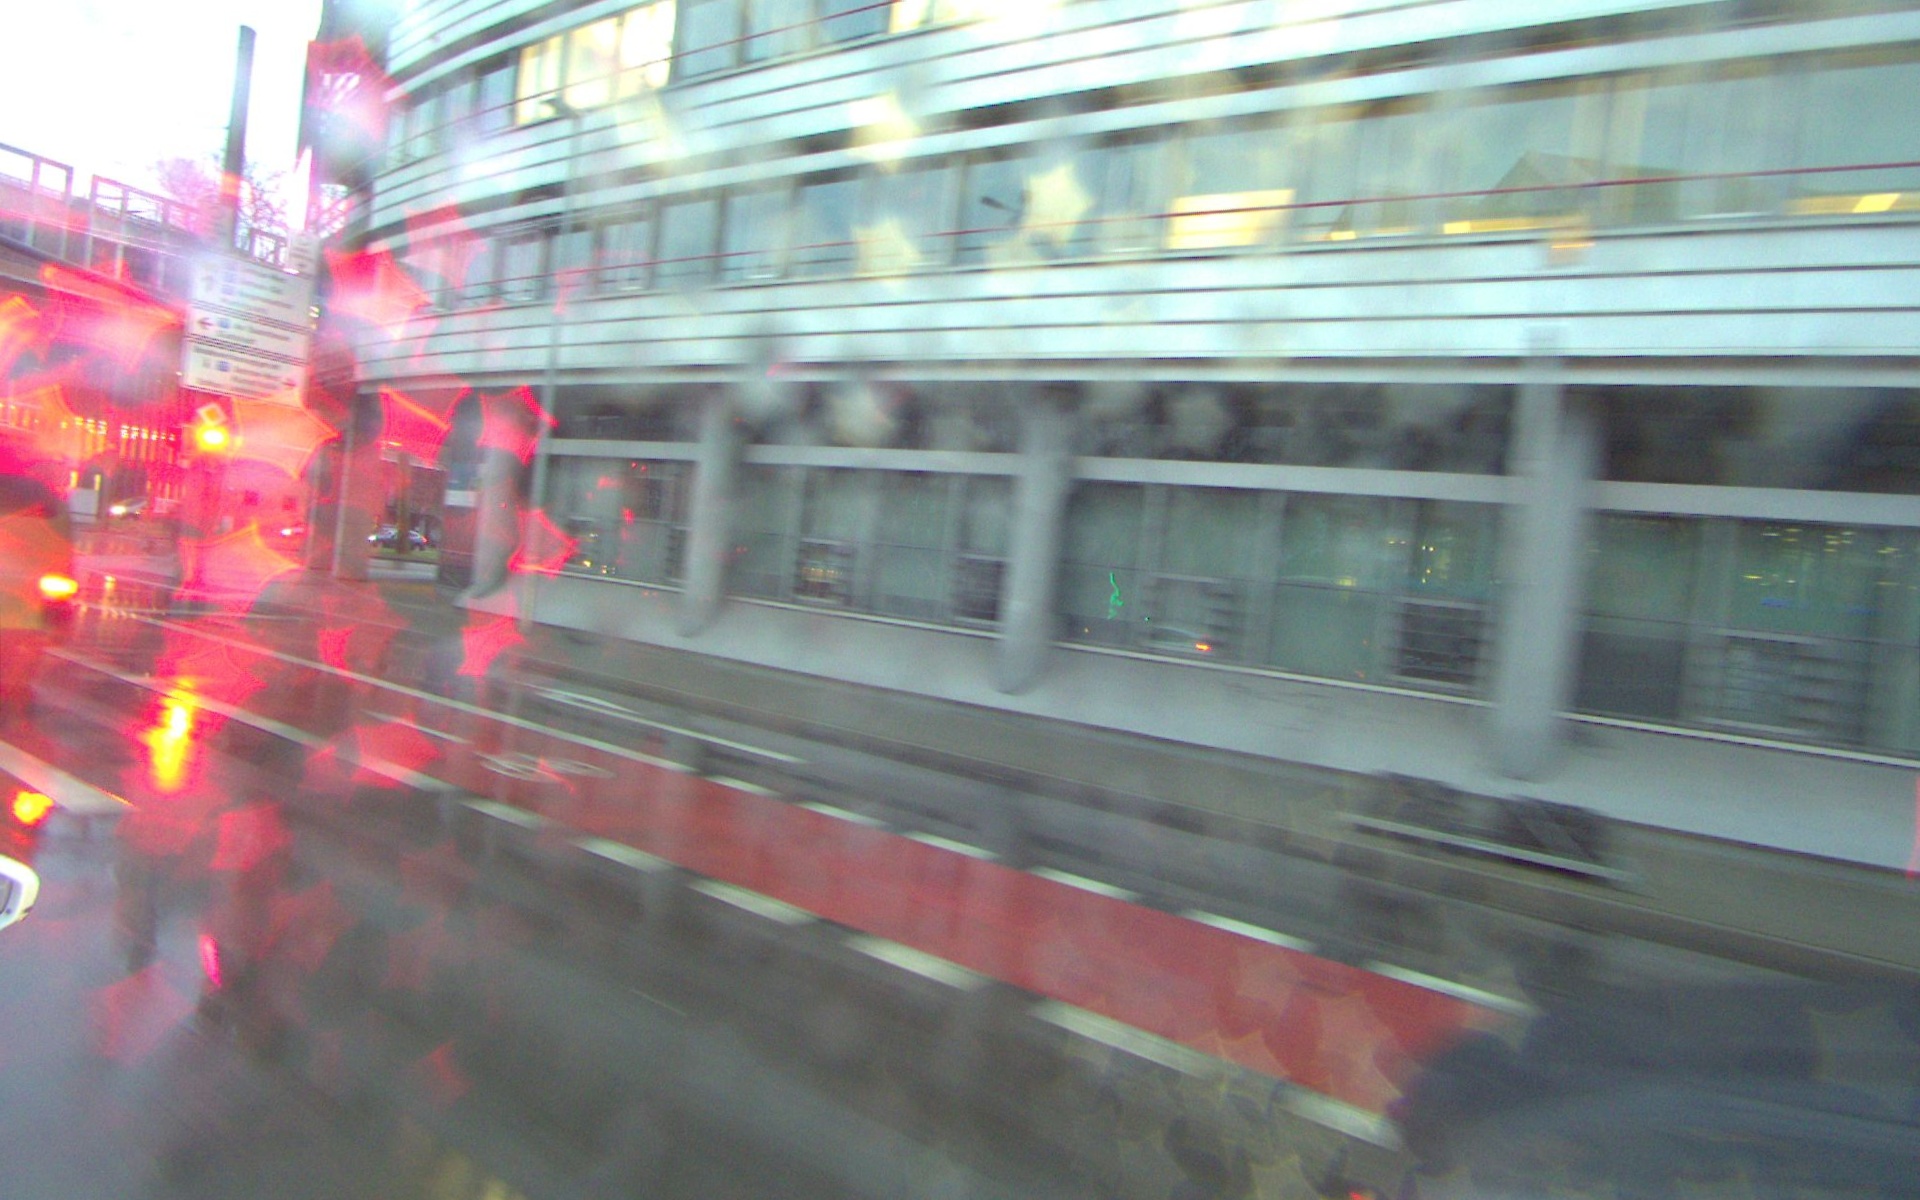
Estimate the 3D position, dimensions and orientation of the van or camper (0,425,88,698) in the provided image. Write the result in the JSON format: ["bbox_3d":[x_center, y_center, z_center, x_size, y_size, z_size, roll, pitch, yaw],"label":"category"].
[{"bbox_3d":[-8.901,-0.535,7.823,4.344,1.929,1.760,7,-1,30],"label":"van or camper"}]

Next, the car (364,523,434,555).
[{"bbox_3d":[-40.811,-4.424,73.184,4.000,1.712,1.975,7,0,-43],"label":"car"}]

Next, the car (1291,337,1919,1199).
[{"bbox_3d":[2.776,0.966,0.692,4.593,1.832,1.886,7,-1,32],"label":"car"}]
